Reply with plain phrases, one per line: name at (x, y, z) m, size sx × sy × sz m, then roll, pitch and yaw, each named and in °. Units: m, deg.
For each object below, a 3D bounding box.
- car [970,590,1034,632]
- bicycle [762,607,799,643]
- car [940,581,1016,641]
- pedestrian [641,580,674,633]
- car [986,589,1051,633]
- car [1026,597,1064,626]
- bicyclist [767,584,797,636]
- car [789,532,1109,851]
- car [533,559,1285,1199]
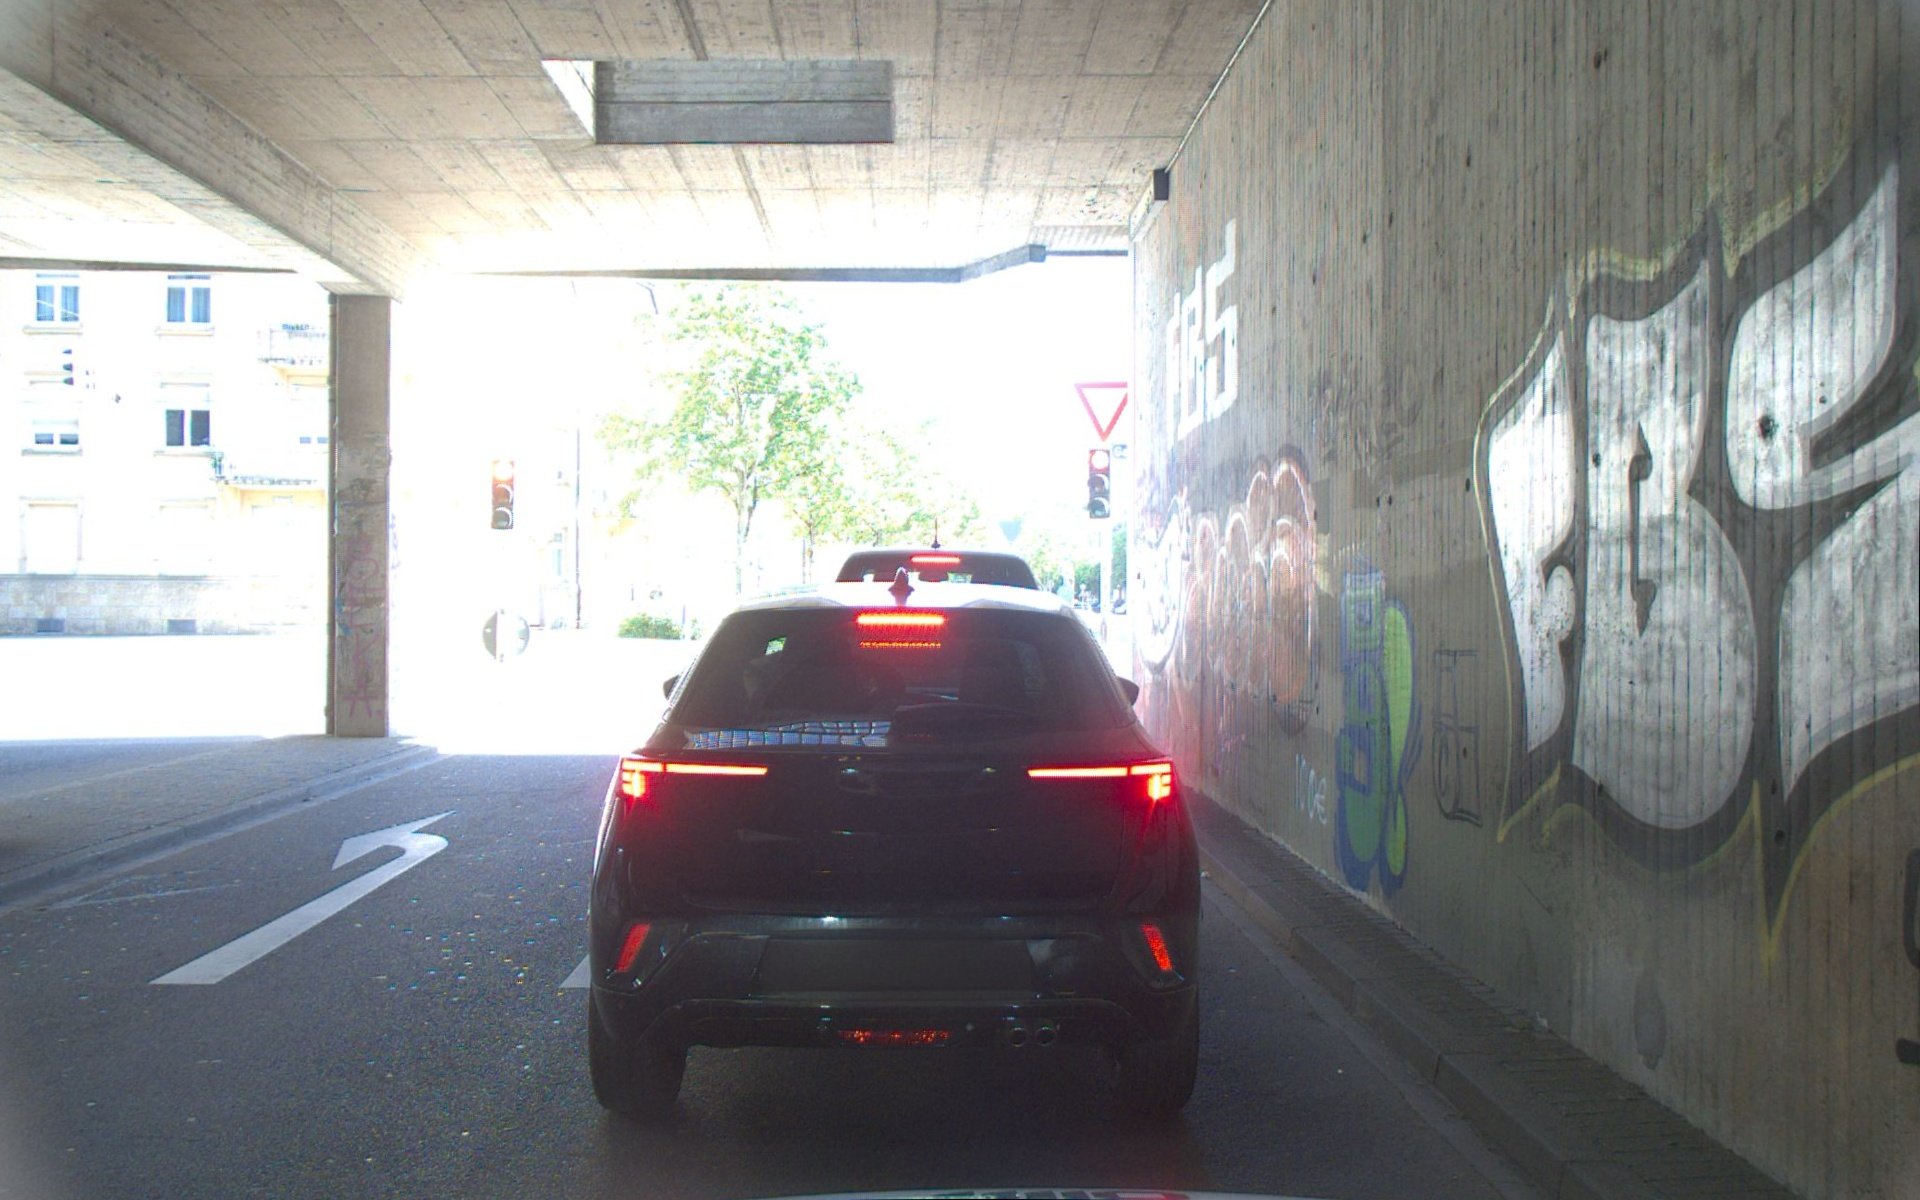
car at (1.618, 0.440, 62.215) m, size 1.926 × 1.523 × 3.899 m, roll 0°, pitch -1°, yaw 8°
bicycle at (-5.559, 0.770, 51.420) m, size 0.716 × 1.086 × 1.690 m, roll 1°, pitch 0°, yaw 9°
car at (0.496, 0.336, 44.178) m, size 1.927 × 1.523 × 3.896 m, roll 0°, pitch -1°, yaw 1°
pedestrian at (-11.791, 0.266, 64.461) m, size 0.971 × 2.049 × 1.089 m, roll 0°, pitch 0°, yaw 7°
car at (2.462, 0.482, 69.038) m, size 2.173 × 1.749 × 4.463 m, roll 0°, pitch -1°, yaw 9°
car at (5.257, 0.699, 101.565) m, size 1.951 × 1.691 × 4.003 m, roll 1°, pitch 0°, yaw 8°
bicyclist at (-5.540, 0.304, 51.454) m, size 0.713 × 1.609 × 0.815 m, roll 1°, pitch -1°, yaw 9°
car at (-0.091, 0.536, 11.884) m, size 1.906 × 1.892 × 3.963 m, roll 0°, pitch 0°, yaw -1°
car at (-0.149, 0.675, 6.059) m, size 1.844 × 1.565 × 3.963 m, roll 0°, pitch 0°, yaw -1°
